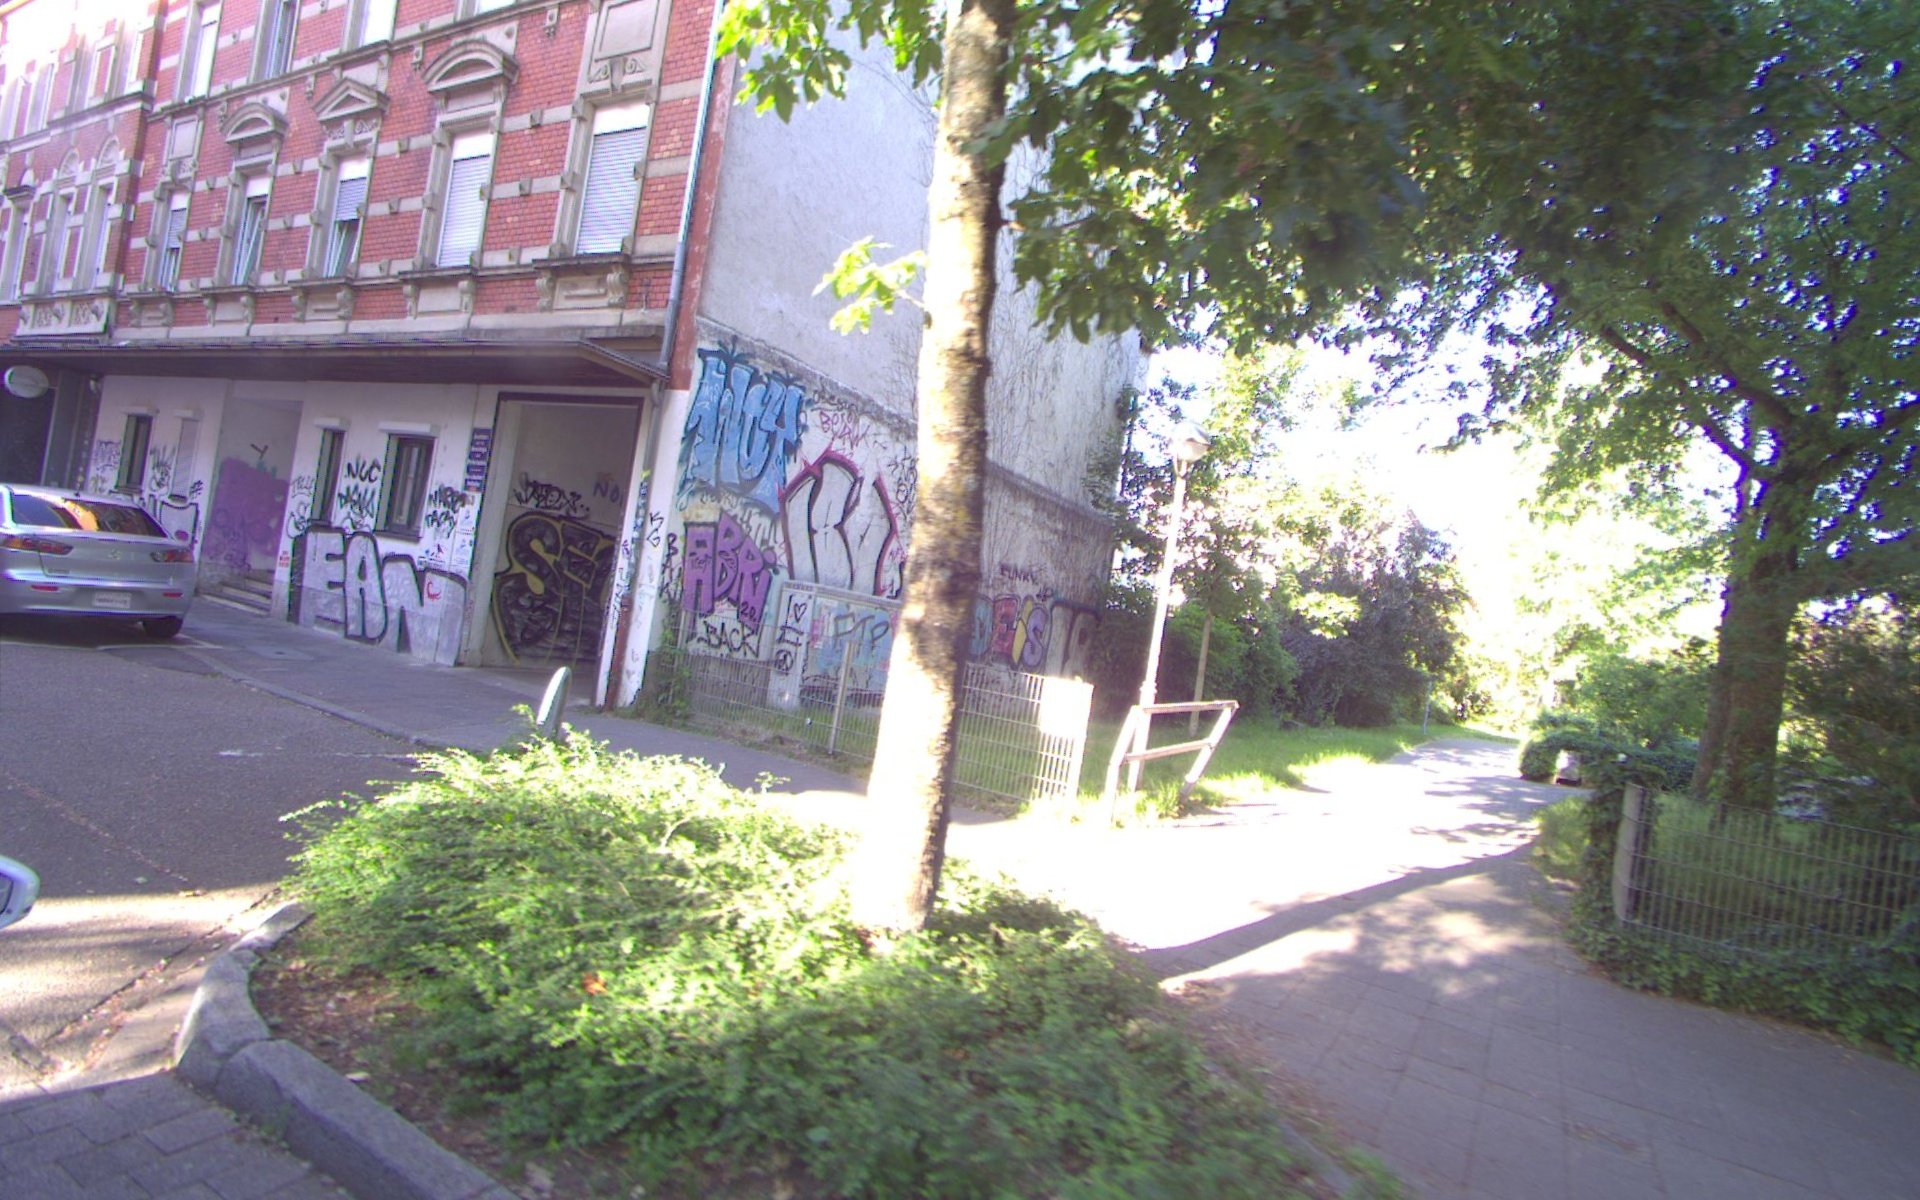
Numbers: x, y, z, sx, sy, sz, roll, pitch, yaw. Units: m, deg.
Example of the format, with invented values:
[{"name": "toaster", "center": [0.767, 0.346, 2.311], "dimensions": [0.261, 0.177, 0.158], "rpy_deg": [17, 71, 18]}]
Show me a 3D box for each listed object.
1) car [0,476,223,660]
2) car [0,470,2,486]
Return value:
[{"name": "car", "center": [-10.306, -0.508, 11.194], "dimensions": [4.324, 1.580, 1.725], "rpy_deg": [9, -1, 31]}, {"name": "car", "center": [-15.433, -1.287, 14.281], "dimensions": [3.805, 1.675, 1.643], "rpy_deg": [8, -1, 32]}]
